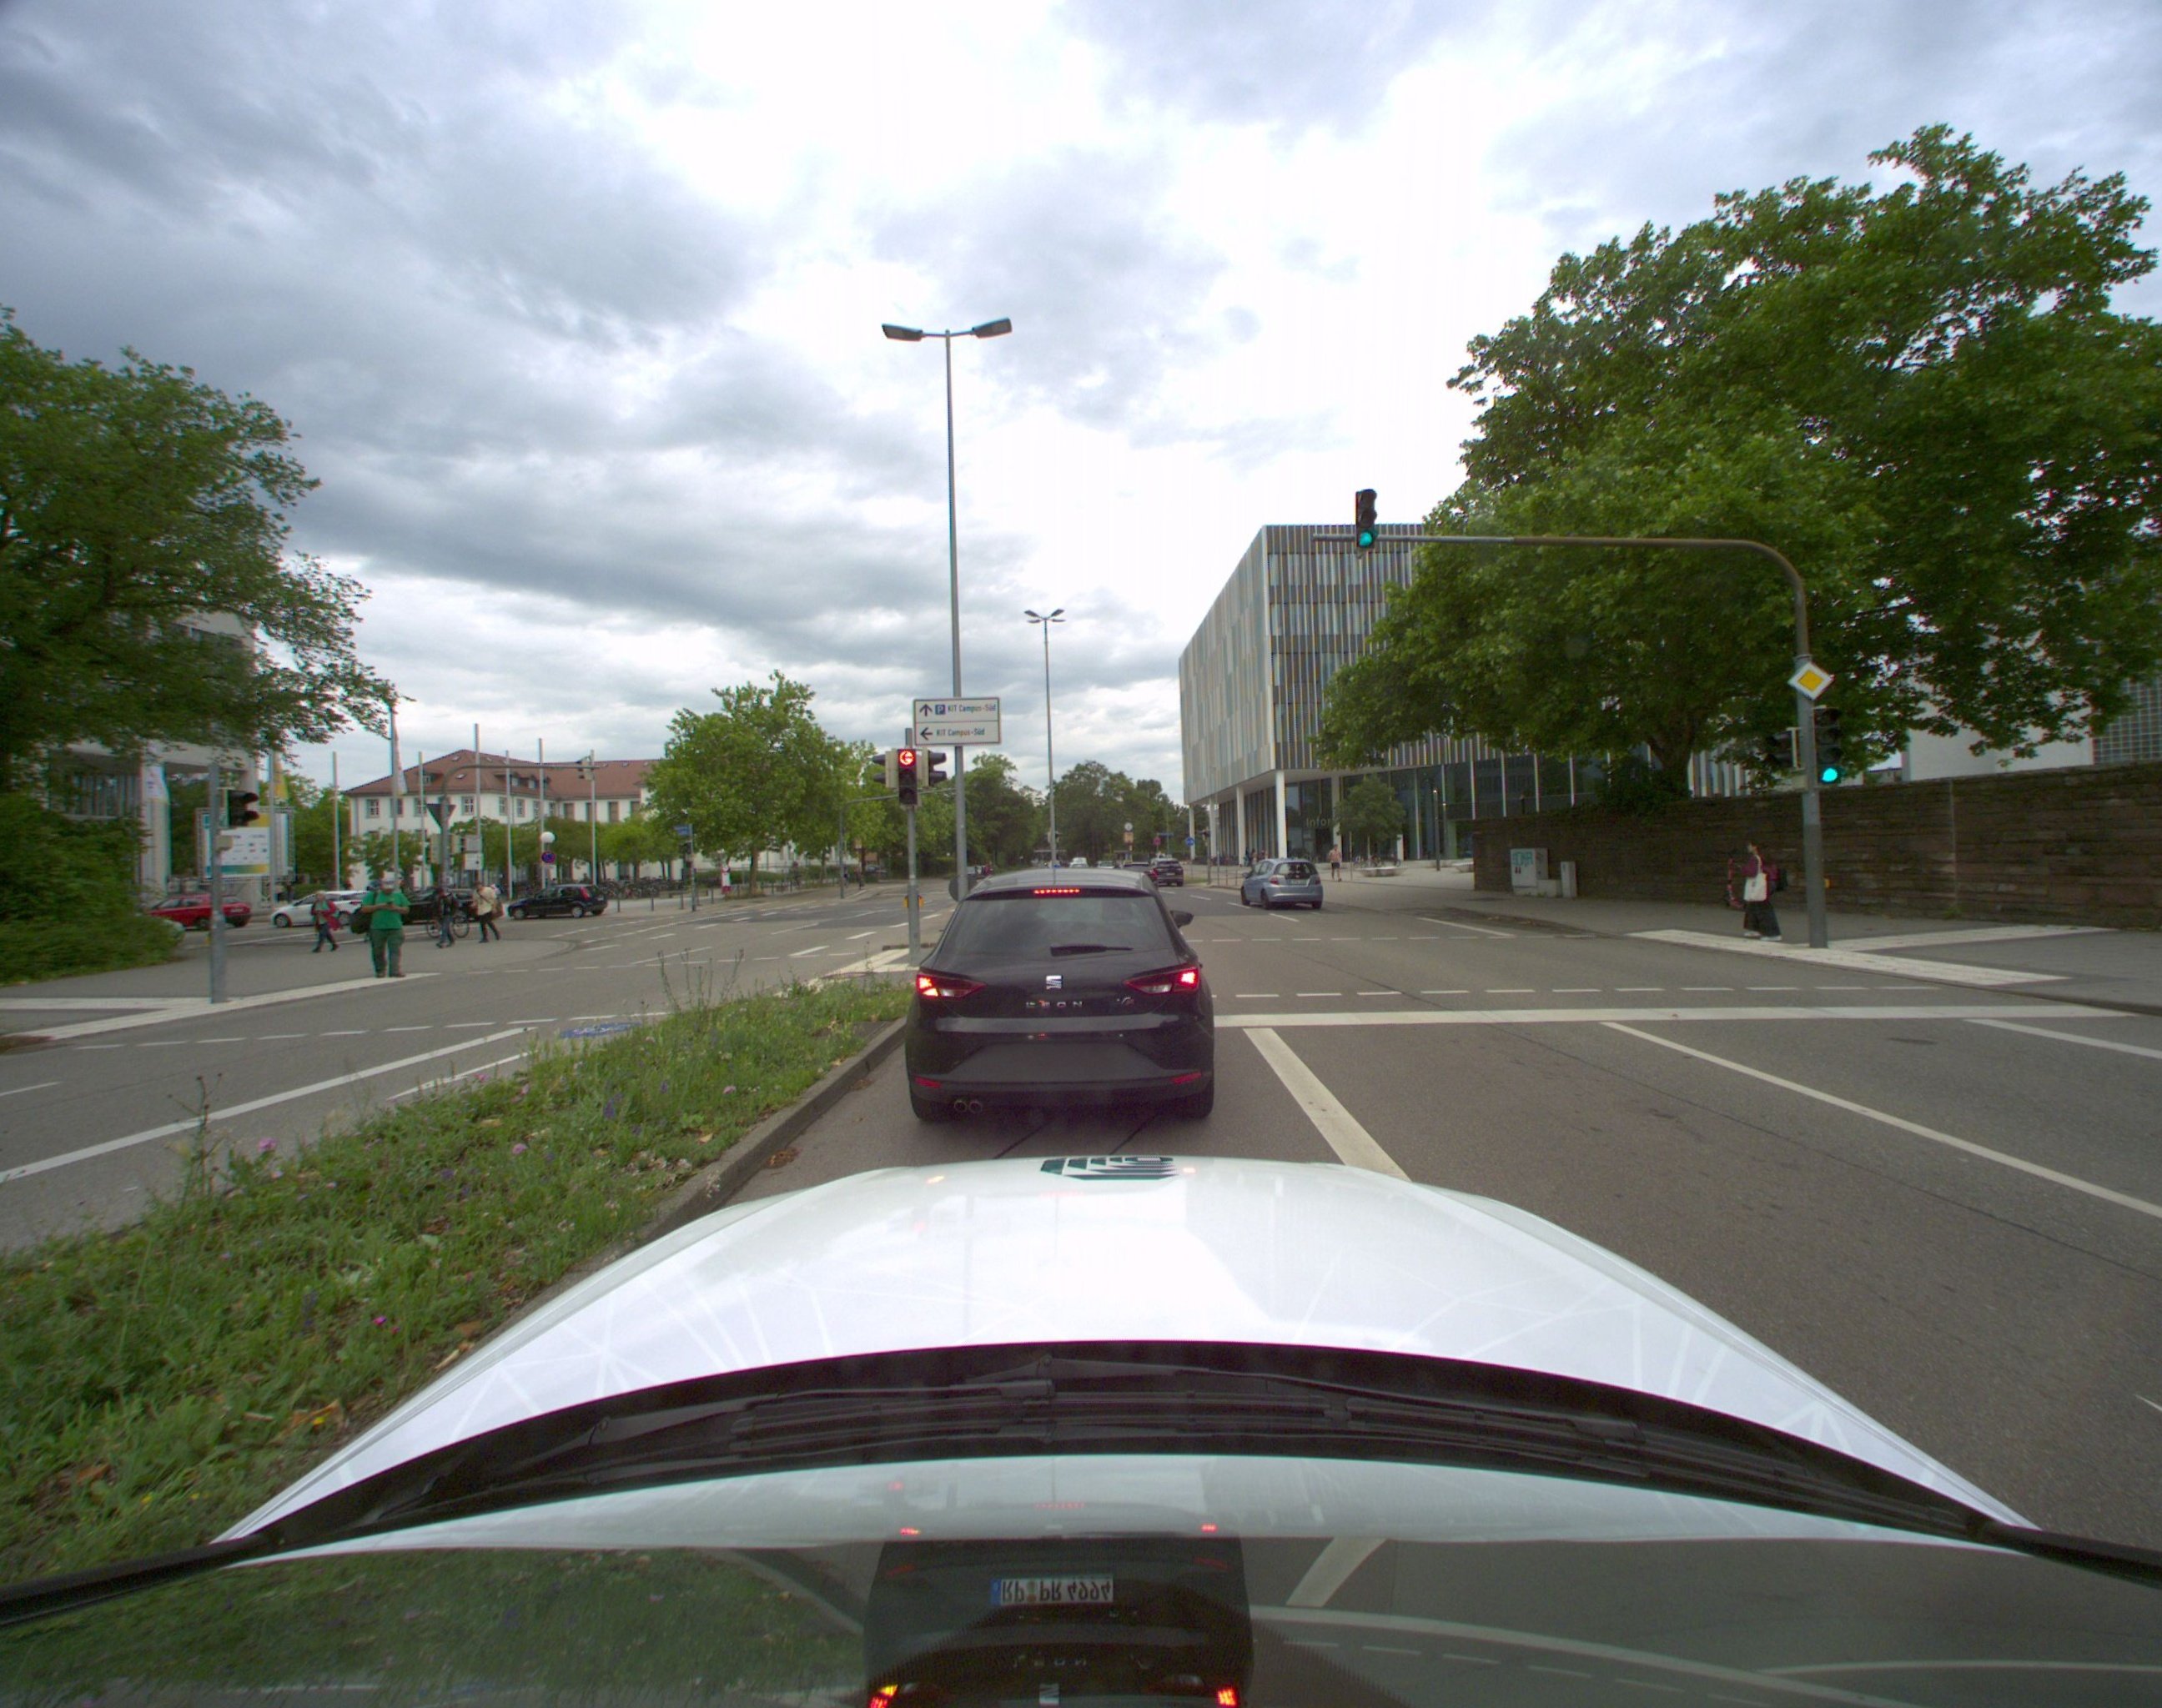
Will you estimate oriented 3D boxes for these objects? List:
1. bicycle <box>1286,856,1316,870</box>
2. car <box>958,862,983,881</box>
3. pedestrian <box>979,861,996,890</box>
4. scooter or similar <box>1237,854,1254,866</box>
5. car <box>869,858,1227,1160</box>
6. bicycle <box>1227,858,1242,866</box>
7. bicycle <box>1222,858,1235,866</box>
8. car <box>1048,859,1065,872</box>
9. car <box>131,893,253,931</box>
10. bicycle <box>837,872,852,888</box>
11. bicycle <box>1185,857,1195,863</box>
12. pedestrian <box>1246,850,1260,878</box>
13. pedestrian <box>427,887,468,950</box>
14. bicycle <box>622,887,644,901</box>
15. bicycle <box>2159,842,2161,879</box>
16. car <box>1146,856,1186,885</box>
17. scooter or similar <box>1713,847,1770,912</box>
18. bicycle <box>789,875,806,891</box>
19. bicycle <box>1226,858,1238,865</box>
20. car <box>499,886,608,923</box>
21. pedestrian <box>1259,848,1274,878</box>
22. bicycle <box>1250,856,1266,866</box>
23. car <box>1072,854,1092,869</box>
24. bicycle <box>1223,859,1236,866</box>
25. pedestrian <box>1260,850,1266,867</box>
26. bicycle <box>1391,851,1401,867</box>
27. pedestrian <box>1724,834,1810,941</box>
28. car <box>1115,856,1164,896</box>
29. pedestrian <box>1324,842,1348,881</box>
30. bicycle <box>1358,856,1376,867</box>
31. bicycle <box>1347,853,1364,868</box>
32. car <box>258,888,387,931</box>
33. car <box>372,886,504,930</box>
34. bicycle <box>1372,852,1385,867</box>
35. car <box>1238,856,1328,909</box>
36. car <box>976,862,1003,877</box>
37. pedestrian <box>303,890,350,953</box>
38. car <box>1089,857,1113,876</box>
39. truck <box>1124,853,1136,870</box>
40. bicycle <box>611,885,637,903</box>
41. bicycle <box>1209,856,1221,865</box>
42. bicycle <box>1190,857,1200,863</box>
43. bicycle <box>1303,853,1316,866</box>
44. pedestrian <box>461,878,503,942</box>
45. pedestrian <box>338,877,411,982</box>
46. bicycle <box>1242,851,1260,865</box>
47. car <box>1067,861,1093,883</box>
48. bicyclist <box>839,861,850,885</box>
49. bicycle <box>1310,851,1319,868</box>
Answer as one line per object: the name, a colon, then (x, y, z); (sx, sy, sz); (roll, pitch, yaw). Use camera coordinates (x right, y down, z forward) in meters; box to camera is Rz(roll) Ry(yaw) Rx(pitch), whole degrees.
bicycle: (15.107, 0.620, 55.987); (1.892, 0.898, 0.693); (-4, 0, -20)
car: (-11.702, 1.845, 86.739); (1.899, 1.717, 4.002); (-3, 0, 2)
pedestrian: (-5.381, 1.228, 46.740); (0.873, 1.586, 0.542); (-3, 0, -5)
scooter or similar: (15.792, 0.559, 78.102); (1.682, 1.106, 0.494); (-4, 0, -30)
car: (-0.033, 0.770, 5.873); (1.745, 1.432, 3.773); (-1, 0, 4)
bicycle: (15.835, 0.834, 83.987); (1.368, 0.705, 0.416); (-3, 0, 4)
bicycle: (15.707, 0.866, 86.681); (1.232, 0.705, 0.490); (-3, 0, 10)
car: (-2.812, 1.257, 93.556); (1.719, 1.414, 4.239); (-1, 0, -4)
car: (-38.185, 2.463, 35.048); (3.341, 1.479, 1.559); (-1, 0, -5)
bicycle: (-16.120, 1.765, 55.552); (0.486, 1.005, 1.590); (-1, 1, 2)
bicycle: (14.544, 0.810, 108.817); (1.262, 0.848, 0.479); (1, -2, -21)
pedestrian: (10.181, 0.605, 48.107); (0.684, 1.640, 0.633); (-1, 0, 1)
pedestrian: (-16.368, 1.654, 21.037); (0.796, 1.558, 0.691); (1, -5, -42)
bicycle: (-30.902, 2.773, 56.188); (1.211, 0.880, 0.262); (-4, 0, -22)
bicycle: (13.552, 0.410, 8.916); (0.801, 1.174, 1.952); (-5, 0, -3)
car: (4.893, 0.925, 47.265); (1.901, 1.624, 4.491); (-1, 0, 1)
scooter or similar: (13.087, 0.477, 16.174); (0.428, 1.179, 1.714); (-4, 0, 26)
bicycle: (-20.952, 2.151, 60.175); (0.606, 1.060, 2.041); (-3, 0, -4)
bicycle: (16.209, 0.826, 87.351); (1.266, 0.705, 0.486); (-3, 0, 8)
car: (-23.219, 2.212, 35.953); (3.649, 1.223, 1.562); (-1, 7, -5)
pedestrian: (10.944, 0.519, 48.137); (0.684, 1.781, 0.677); (-2, 0, 1)
bicycle: (16.466, 0.661, 75.799); (1.445, 0.857, 0.362); (-4, 0, -25)
car: (0.066, 0.943, 103.946); (1.965, 1.972, 4.332); (0, 0, -7)
bicycle: (15.630, 0.876, 85.790); (1.366, 0.705, 0.490); (-3, 0, 10)
pedestrian: (15.316, 0.373, 68.517); (0.469, 1.361, 0.447); (-3, 0, 12)
bicycle: (22.536, 0.331, 58.295); (0.616, 1.056, 1.959); (-3, 0, 21)
pedestrian: (10.665, 0.502, 12.688); (0.657, 1.561, 0.636); (-6, 0, 1)
car: (2.504, 0.918, 35.830); (1.877, 1.600, 4.447); (-1, 0, 0)
pedestrian: (12.108, 0.342, 38.719); (0.844, 1.765, 0.768); (-3, 0, 1)
bicycle: (21.160, 0.531, 60.271); (1.535, 0.716, 0.513); (-4, 0, -42)
bicycle: (20.587, 0.477, 60.977); (0.688, 0.946, 1.997); (-3, 0, 32)
car: (-33.051, 2.392, 35.564); (3.868, 1.539, 1.684); (-2, 2, -2)
car: (-27.576, 2.298, 35.081); (4.059, 1.452, 1.615); (-3, 5, -16)
bicycle: (21.659, 0.390, 59.241); (0.802, 1.056, 1.959); (-3, 0, 21)
car: (6.026, 0.807, 24.709); (1.662, 1.466, 3.656); (-1, 0, -2)
car: (-10.936, 1.830, 97.828); (1.746, 1.587, 4.016); (-3, 0, 15)
pedestrian: (-18.955, 1.699, 20.479); (0.572, 1.527, 0.842); (-2, -5, -22)
car: (1.736, 1.070, 68.664); (1.817, 1.551, 4.531); (0, -1, 4)
truck: (6.661, 1.007, 110.810); (1.313, 2.243, 3.403); (-3, 0, 2)
bicycle: (-31.083, 2.722, 55.427); (1.405, 1.052, 0.585); (-4, 0, -19)
bicycle: (15.088, 0.758, 91.656); (1.379, 0.942, 0.489); (-3, 0, 8)
bicycle: (14.952, 0.777, 106.693); (1.239, 0.823, 0.479); (0, -1, -21)
bicycle: (18.793, 0.447, 66.898); (0.614, 1.045, 1.716); (-3, 0, 28)
pedestrian: (-16.961, 1.600, 23.079); (0.845, 1.740, 0.823); (-1, -5, -29)
pedestrian: (-12.494, 1.299, 14.412); (0.948, 1.759, 0.865); (0, -2, -42)
bicycle: (16.177, 0.421, 77.516); (1.785, 1.211, 0.564); (-4, 0, -32)
car: (-0.068, 1.277, 59.047); (1.776, 1.463, 3.870); (-1, 0, 0)
bicyclist: (-16.125, 1.282, 55.540); (0.489, 1.625, 0.588); (0, 1, 1)
bicycle: (18.405, 0.413, 64.113); (0.522, 1.253, 1.674); (-3, 0, 20)
